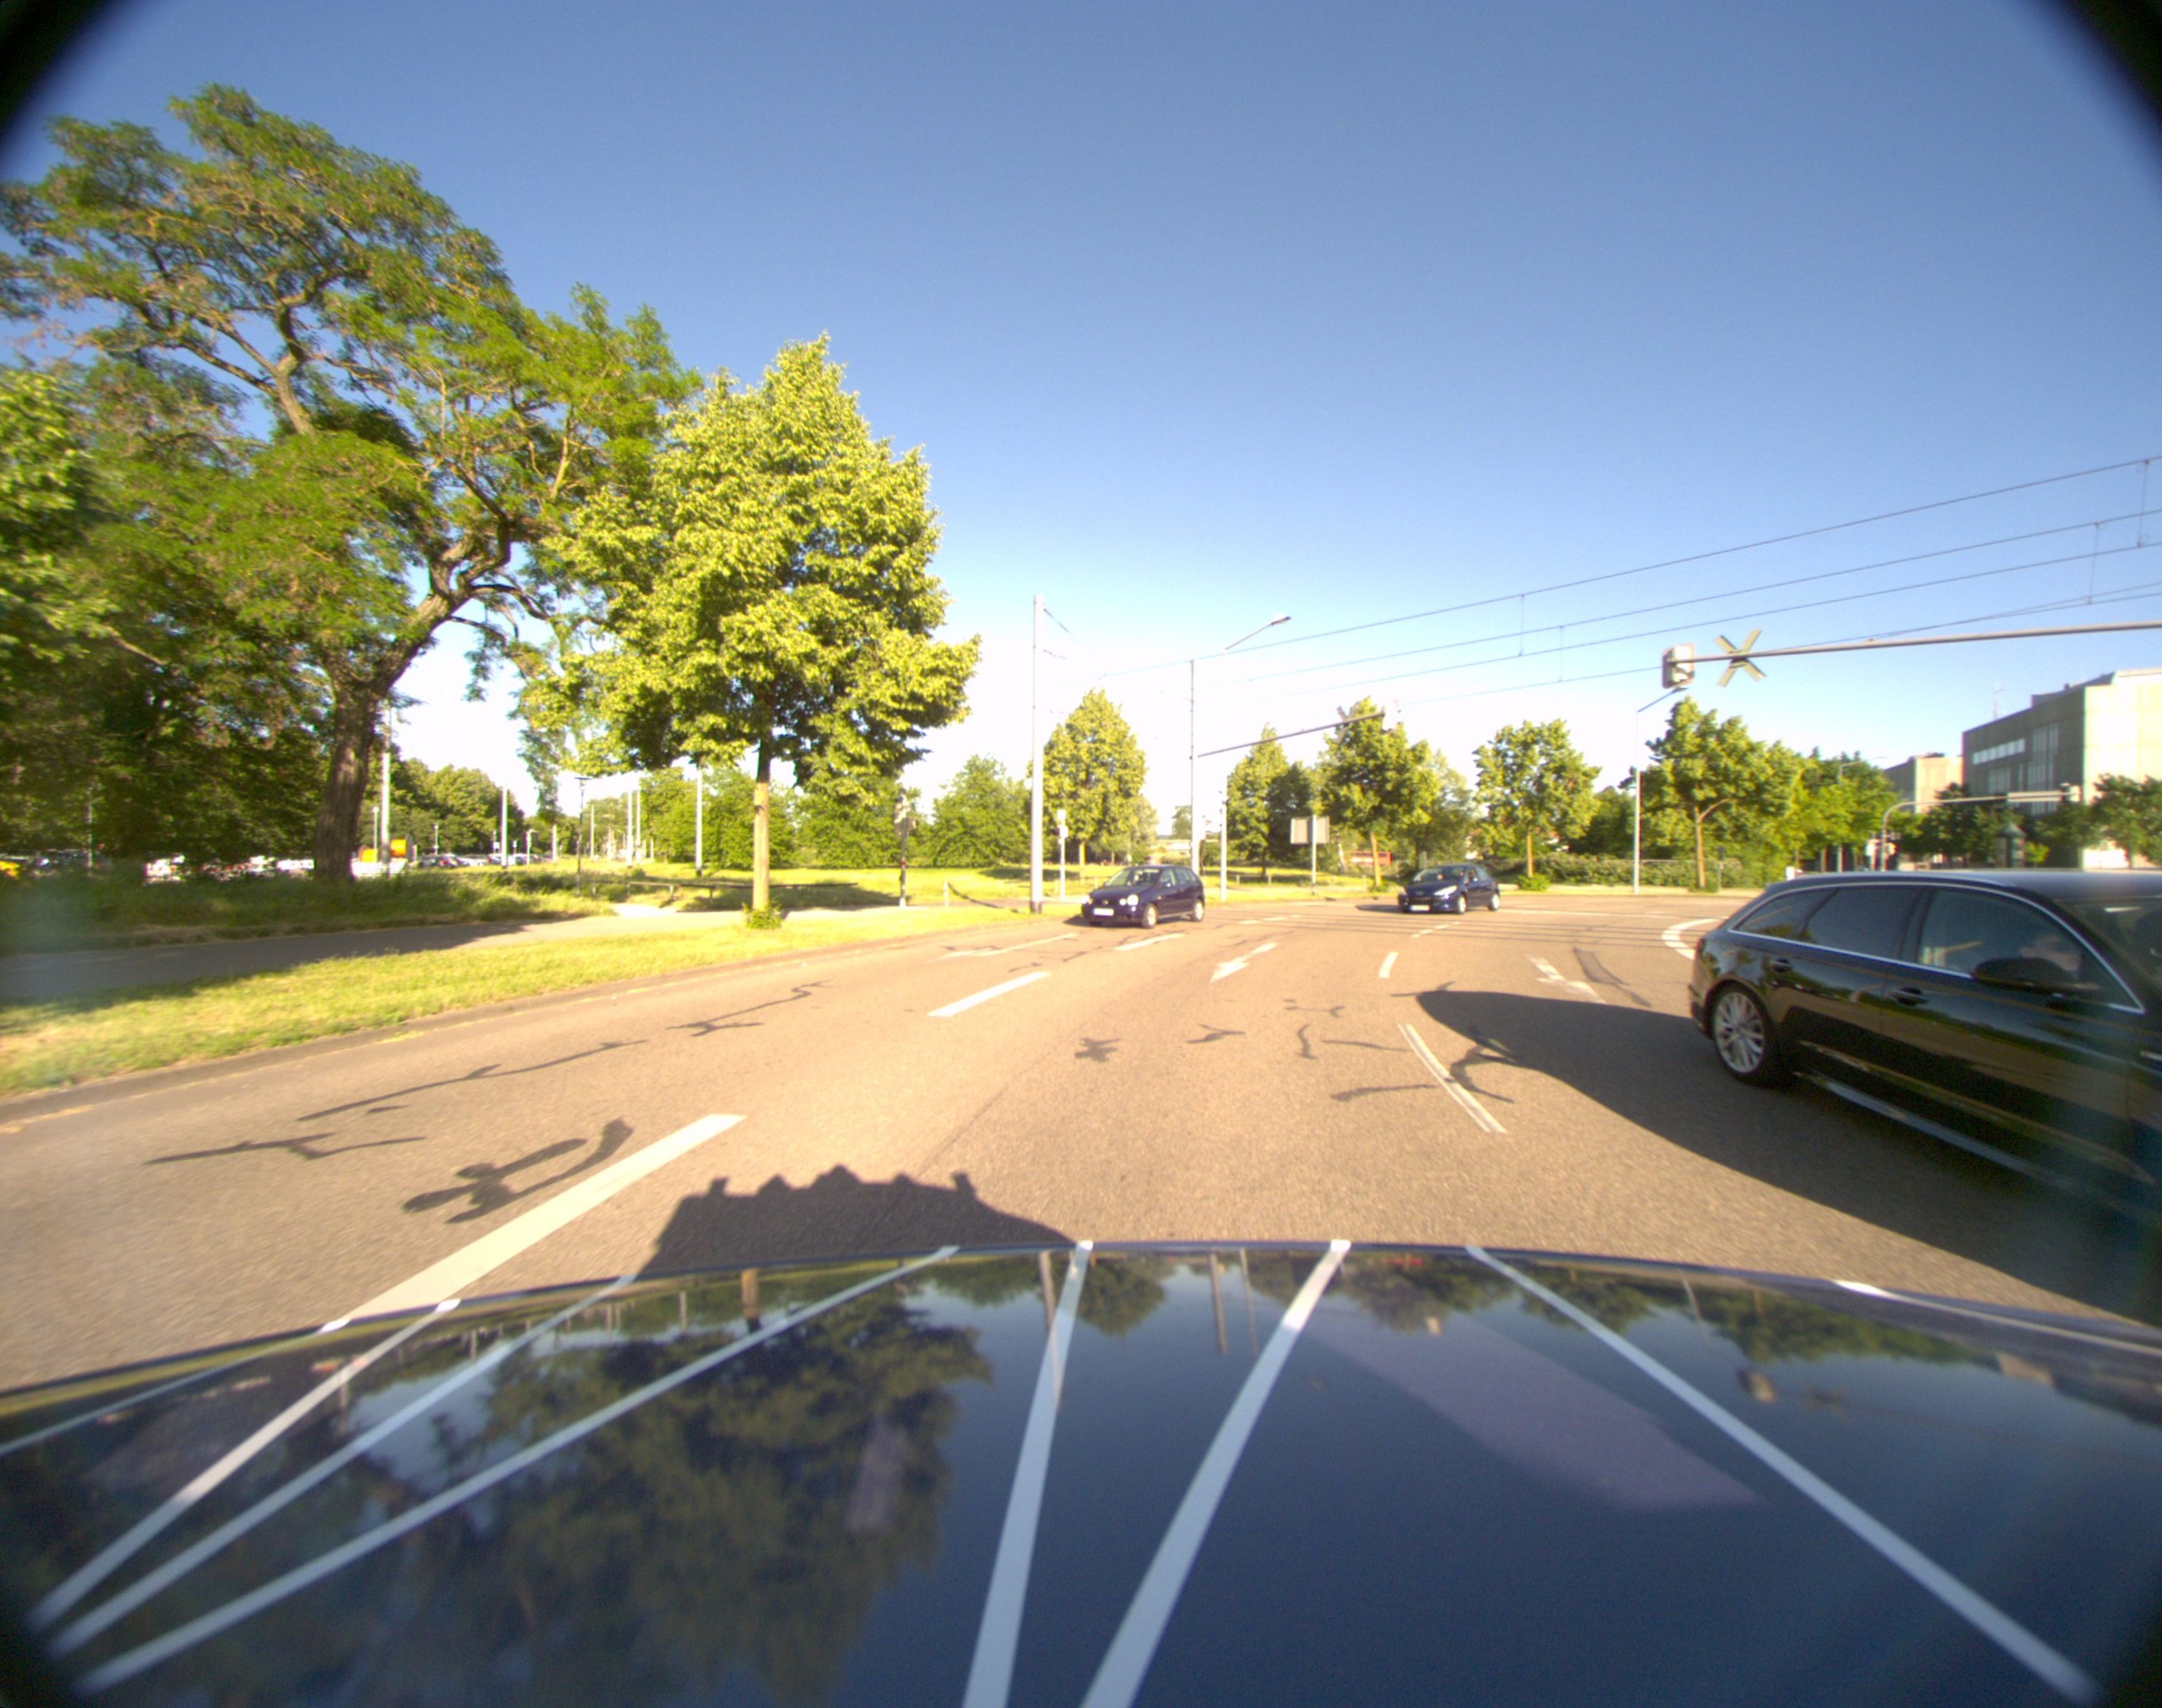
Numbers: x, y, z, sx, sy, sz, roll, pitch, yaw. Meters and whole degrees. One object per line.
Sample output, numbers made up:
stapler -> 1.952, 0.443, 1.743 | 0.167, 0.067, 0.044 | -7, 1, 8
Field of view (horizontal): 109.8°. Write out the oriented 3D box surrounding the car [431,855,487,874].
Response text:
car -> -63.211, 1.048, 77.269 | 4.005, 1.745, 1.910 | -2, 0, -27

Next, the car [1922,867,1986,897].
car -> 45.223, 1.415, 39.444 | 1.720, 1.371, 4.077 | -1, 0, 43

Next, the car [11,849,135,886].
car -> -61.290, 0.797, 46.304 | 4.005, 2.087, 1.996 | -2, 0, -27

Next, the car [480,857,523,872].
car -> -71.991, 1.316, 94.458 | 4.005, 1.745, 1.910 | -2, 0, -27

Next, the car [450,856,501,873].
car -> -66.325, 1.143, 83.349 | 4.005, 1.745, 1.910 | -2, 0, -27

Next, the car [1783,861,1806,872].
car -> 105.212, 1.838, 112.090 | 1.952, 1.605, 3.926 | 0, 0, 35

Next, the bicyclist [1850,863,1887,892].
bicyclist -> 44.820, 1.341, 43.250 | 1.086, 1.553, 0.877 | 1, 2, 12

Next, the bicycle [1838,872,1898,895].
bicycle -> 44.792, 1.668, 43.259 | 2.213, 1.148, 0.877 | 1, 2, 12

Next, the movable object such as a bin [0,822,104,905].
movable object such as a bin -> -37.550, 0.358, 25.748 | 5.057, 2.772, 1.995 | -2, 0, -38

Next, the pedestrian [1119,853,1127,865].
pedestrian -> 5.295, 0.649, 95.023 | 0.772, 1.432, 0.795 | 1, 0, 18

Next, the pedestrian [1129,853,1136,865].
pedestrian -> 6.435, 0.615, 94.607 | 0.660, 1.432, 0.795 | 1, 0, 18

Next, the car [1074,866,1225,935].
car -> 1.845, 1.042, 18.866 | 1.633, 1.459, 4.556 | 0, 0, 36

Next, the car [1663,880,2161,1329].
car -> 4.849, 0.916, 3.374 | 1.795, 1.435, 5.023 | 0, 0, 15

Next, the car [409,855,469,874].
car -> -61.273, 0.988, 72.625 | 4.005, 1.745, 1.910 | -2, 0, -27

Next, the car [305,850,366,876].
car -> -77.726, 0.918, 79.284 | 4.005, 2.637, 1.996 | -2, 0, -27

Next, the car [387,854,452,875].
car -> -60.121, 0.952, 69.127 | 4.005, 1.745, 1.996 | -2, 0, -27

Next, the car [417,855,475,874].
car -> -62.457, 1.024, 74.839 | 4.005, 1.745, 1.910 | -2, 0, -27

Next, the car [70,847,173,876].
car -> -63.560, 0.495, 50.430 | 3.852, 1.769, 1.691 | -2, 0, -24

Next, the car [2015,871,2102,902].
car -> 50.313, 1.629, 39.194 | 1.932, 1.371, 4.546 | -2, 0, 41

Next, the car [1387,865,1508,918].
car -> 11.148, 1.078, 23.011 | 4.008, 1.445, 1.753 | 1, -1, -39
